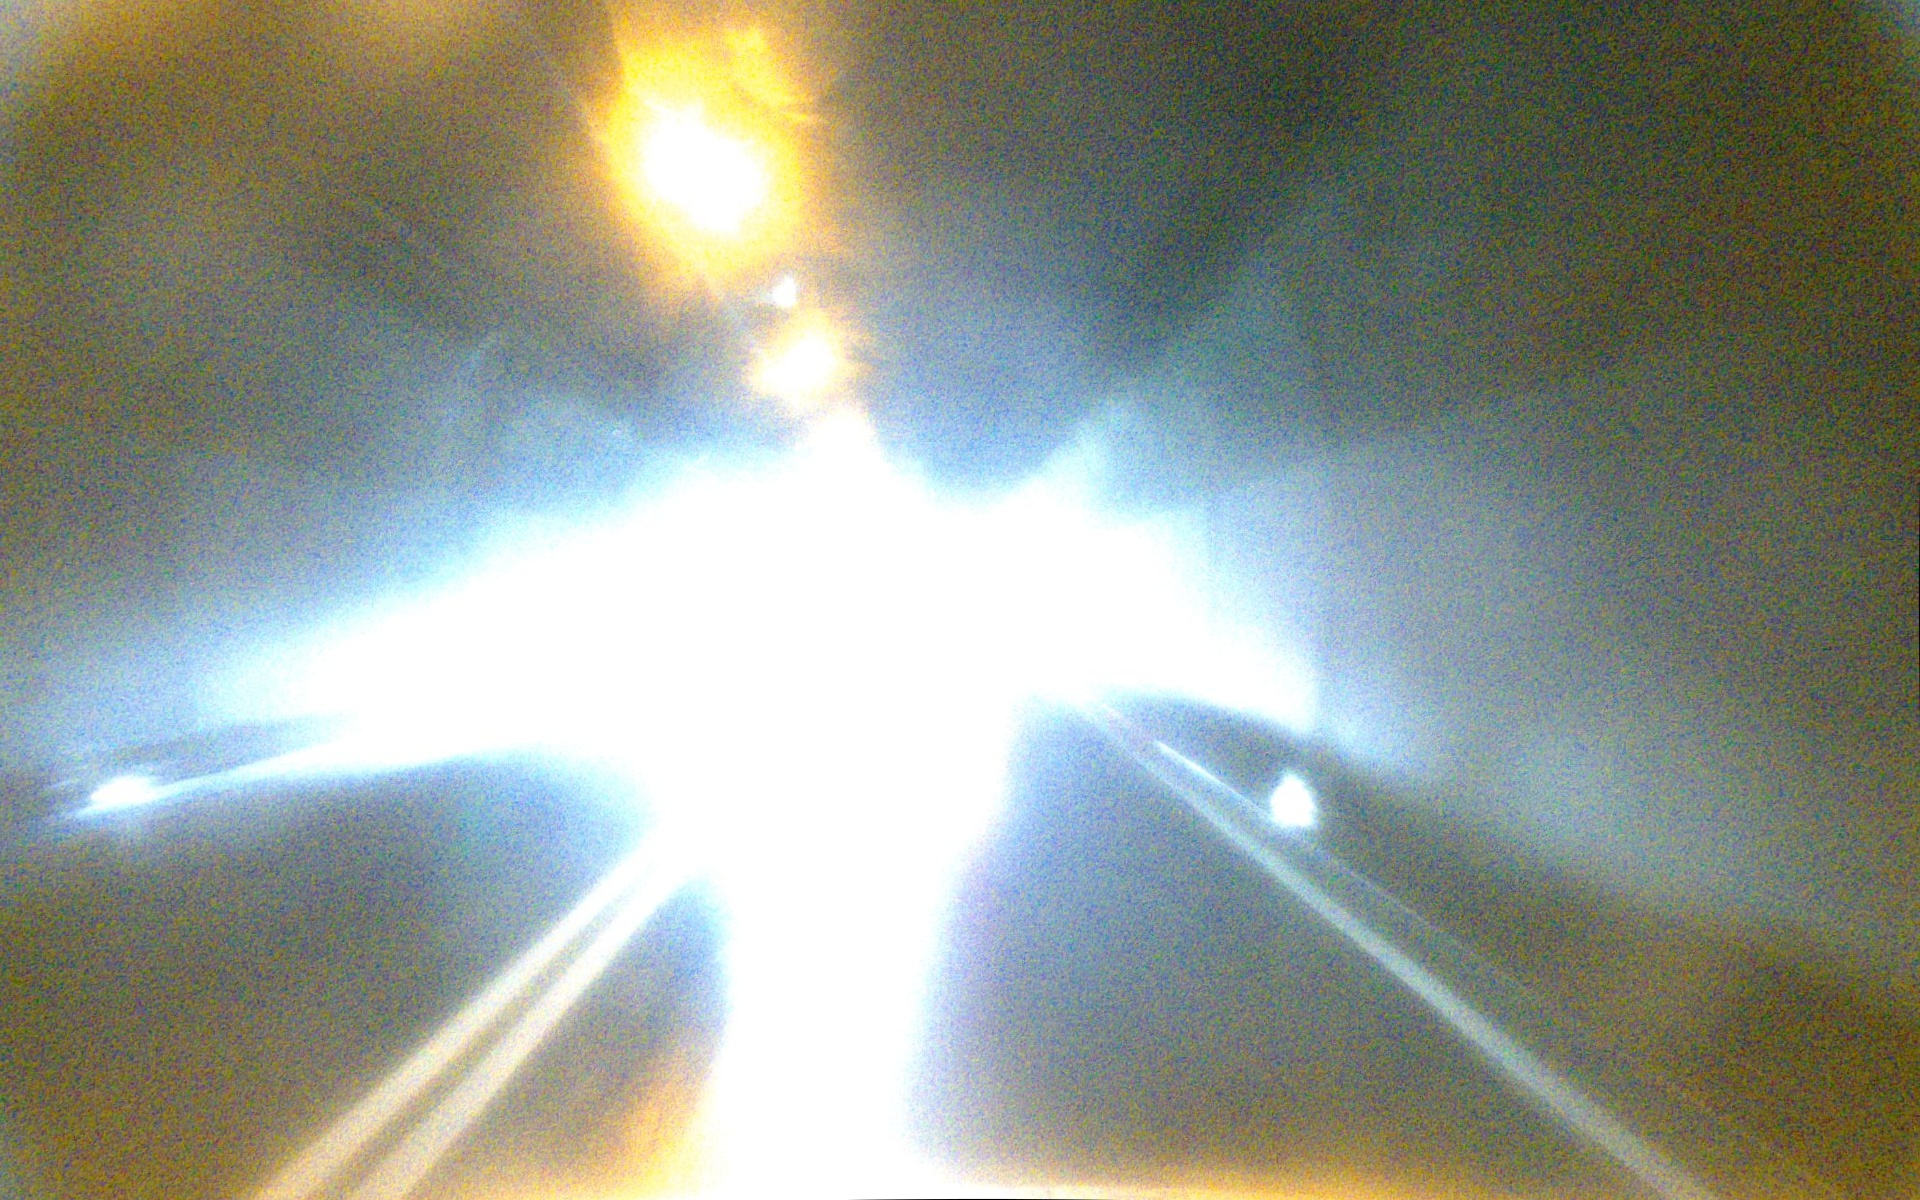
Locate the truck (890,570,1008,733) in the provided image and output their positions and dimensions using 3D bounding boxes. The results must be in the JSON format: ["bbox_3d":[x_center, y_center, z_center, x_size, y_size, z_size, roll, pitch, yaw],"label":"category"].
[{"bbox_3d":[-0.269,0.974,35.021,2.216,3.063,7.413,-1,0,-1],"label":"truck"}]
